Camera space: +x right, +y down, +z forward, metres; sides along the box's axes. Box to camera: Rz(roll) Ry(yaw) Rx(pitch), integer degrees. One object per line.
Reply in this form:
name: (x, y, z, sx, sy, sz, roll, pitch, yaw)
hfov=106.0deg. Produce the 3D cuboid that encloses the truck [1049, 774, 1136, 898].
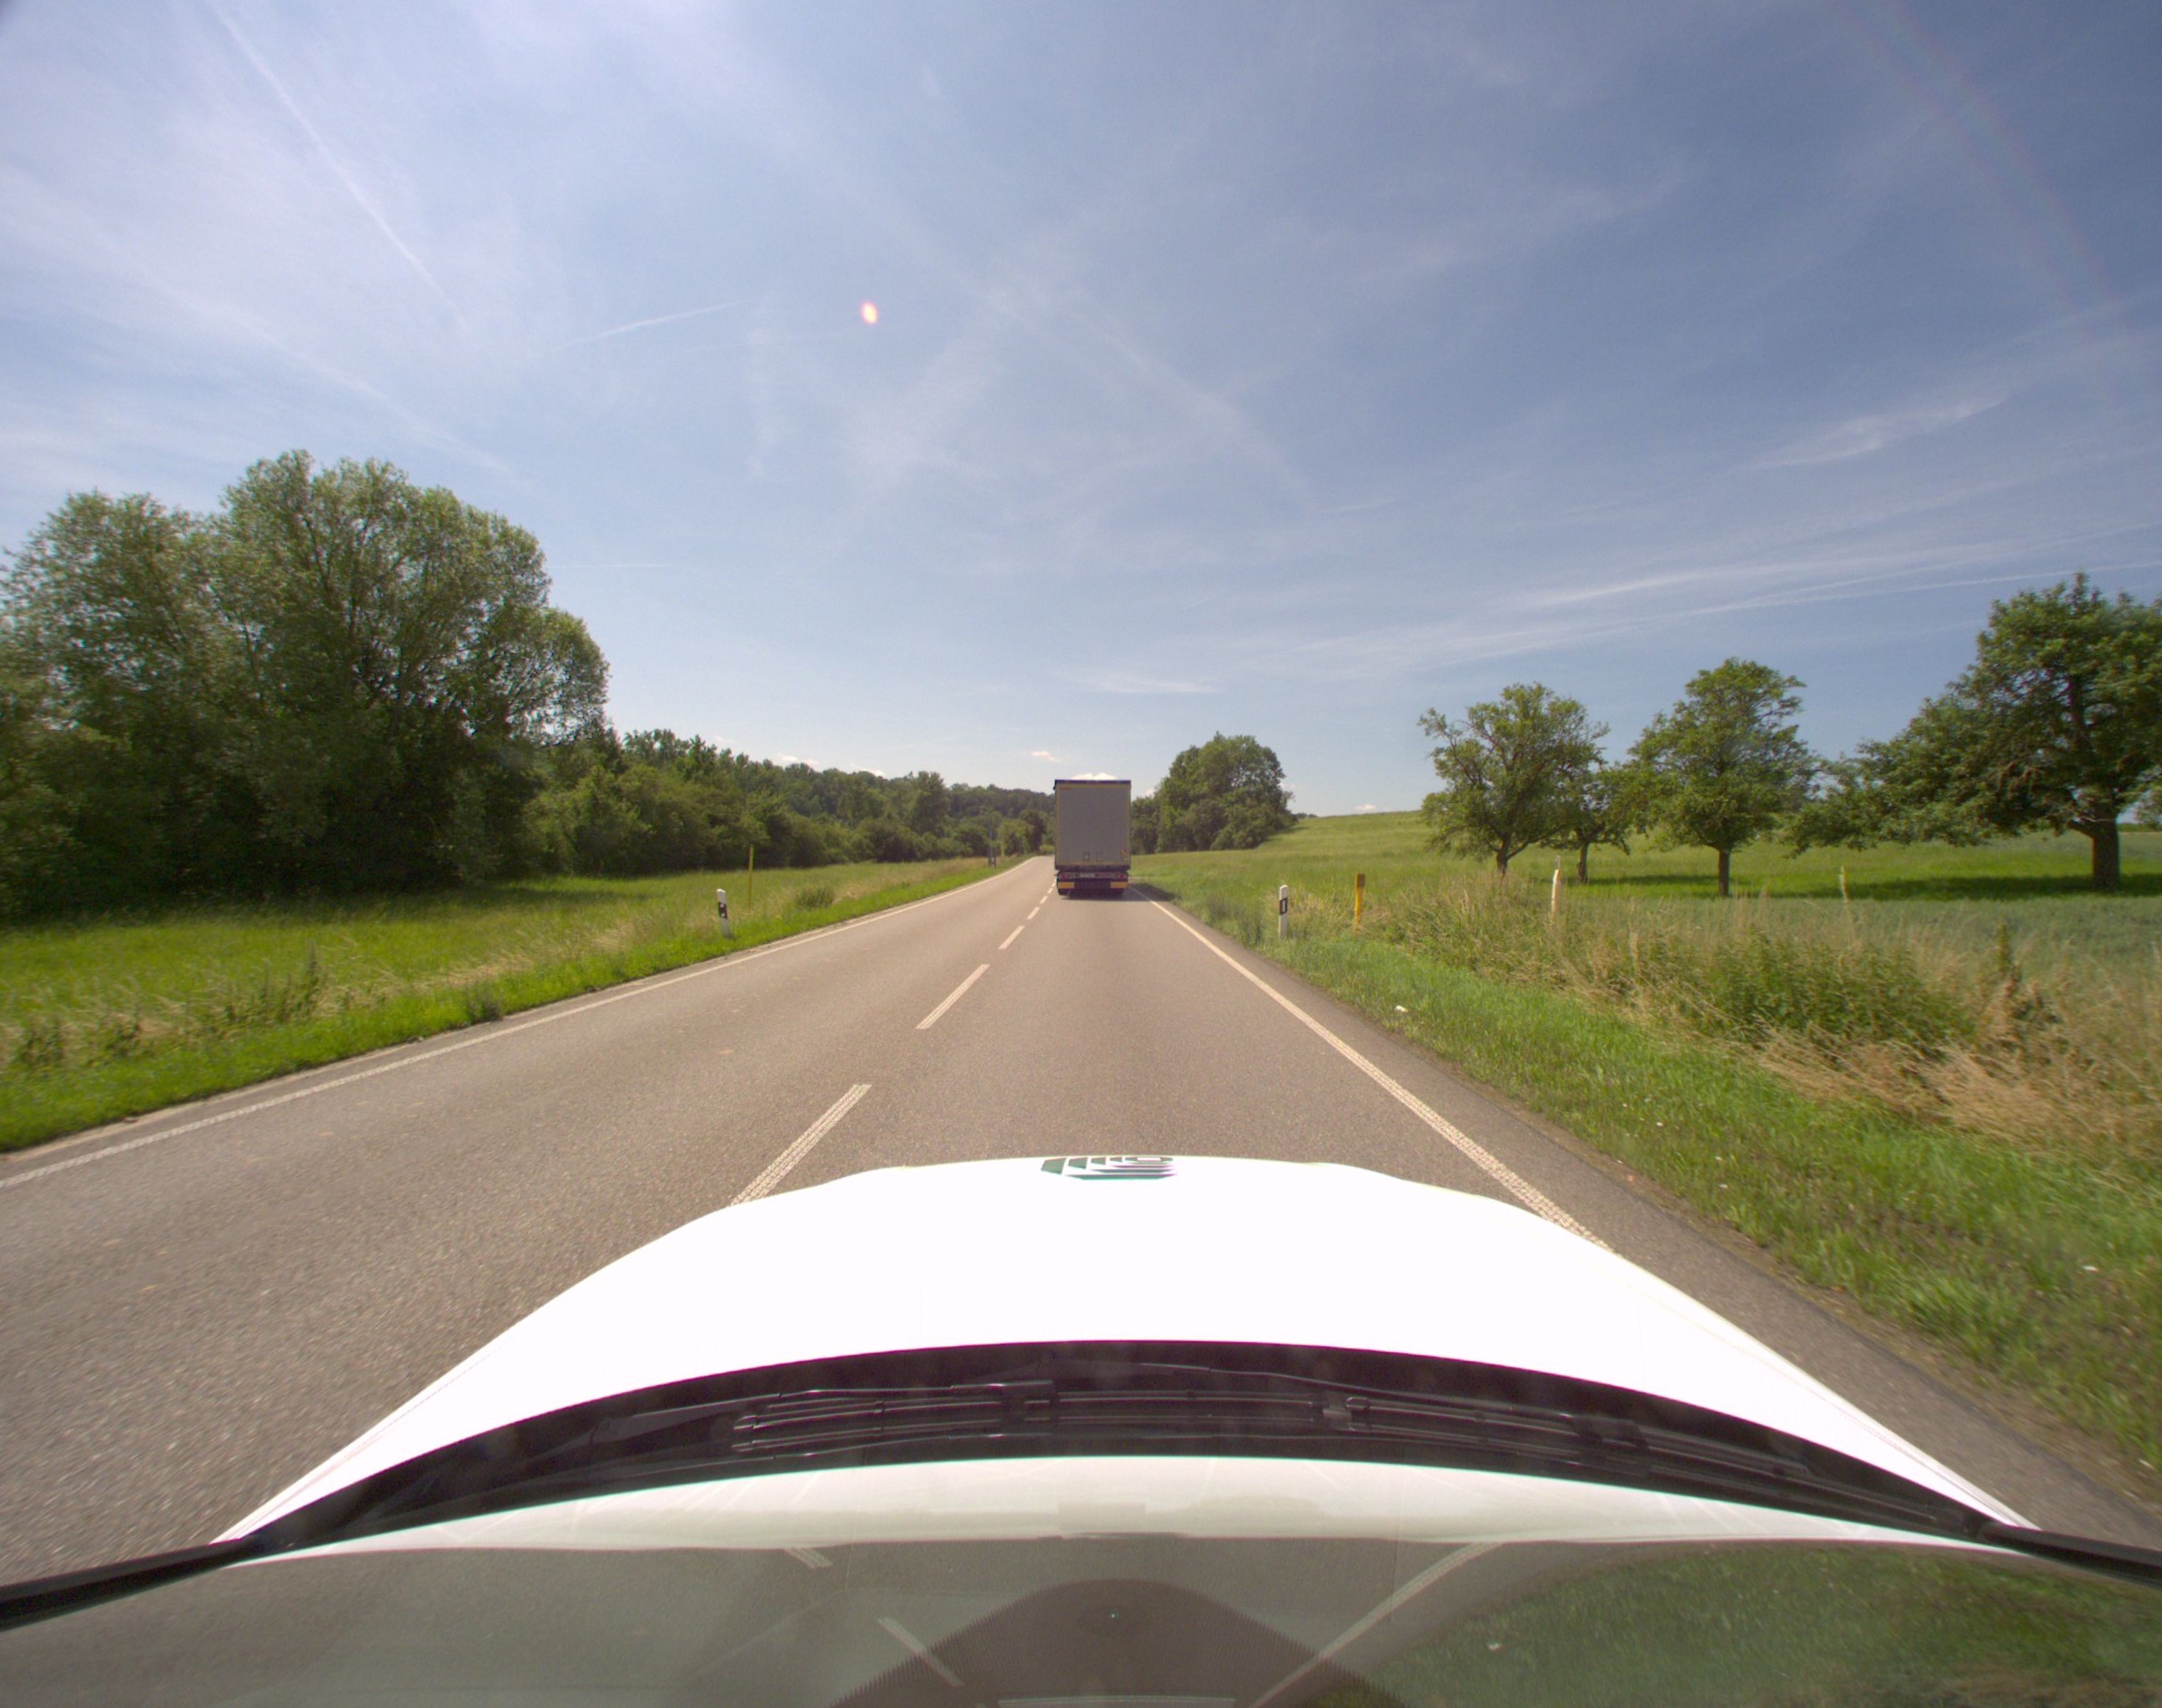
truck: (0.079, -0.569, 34.557, 2.795, 4.068, 15.309, 0, 0, -3)

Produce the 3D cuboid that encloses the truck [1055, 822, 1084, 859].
truck: (-1.736, -2.095, 114.504, 3.099, 4.704, 16.571, -2, 3, -4)
